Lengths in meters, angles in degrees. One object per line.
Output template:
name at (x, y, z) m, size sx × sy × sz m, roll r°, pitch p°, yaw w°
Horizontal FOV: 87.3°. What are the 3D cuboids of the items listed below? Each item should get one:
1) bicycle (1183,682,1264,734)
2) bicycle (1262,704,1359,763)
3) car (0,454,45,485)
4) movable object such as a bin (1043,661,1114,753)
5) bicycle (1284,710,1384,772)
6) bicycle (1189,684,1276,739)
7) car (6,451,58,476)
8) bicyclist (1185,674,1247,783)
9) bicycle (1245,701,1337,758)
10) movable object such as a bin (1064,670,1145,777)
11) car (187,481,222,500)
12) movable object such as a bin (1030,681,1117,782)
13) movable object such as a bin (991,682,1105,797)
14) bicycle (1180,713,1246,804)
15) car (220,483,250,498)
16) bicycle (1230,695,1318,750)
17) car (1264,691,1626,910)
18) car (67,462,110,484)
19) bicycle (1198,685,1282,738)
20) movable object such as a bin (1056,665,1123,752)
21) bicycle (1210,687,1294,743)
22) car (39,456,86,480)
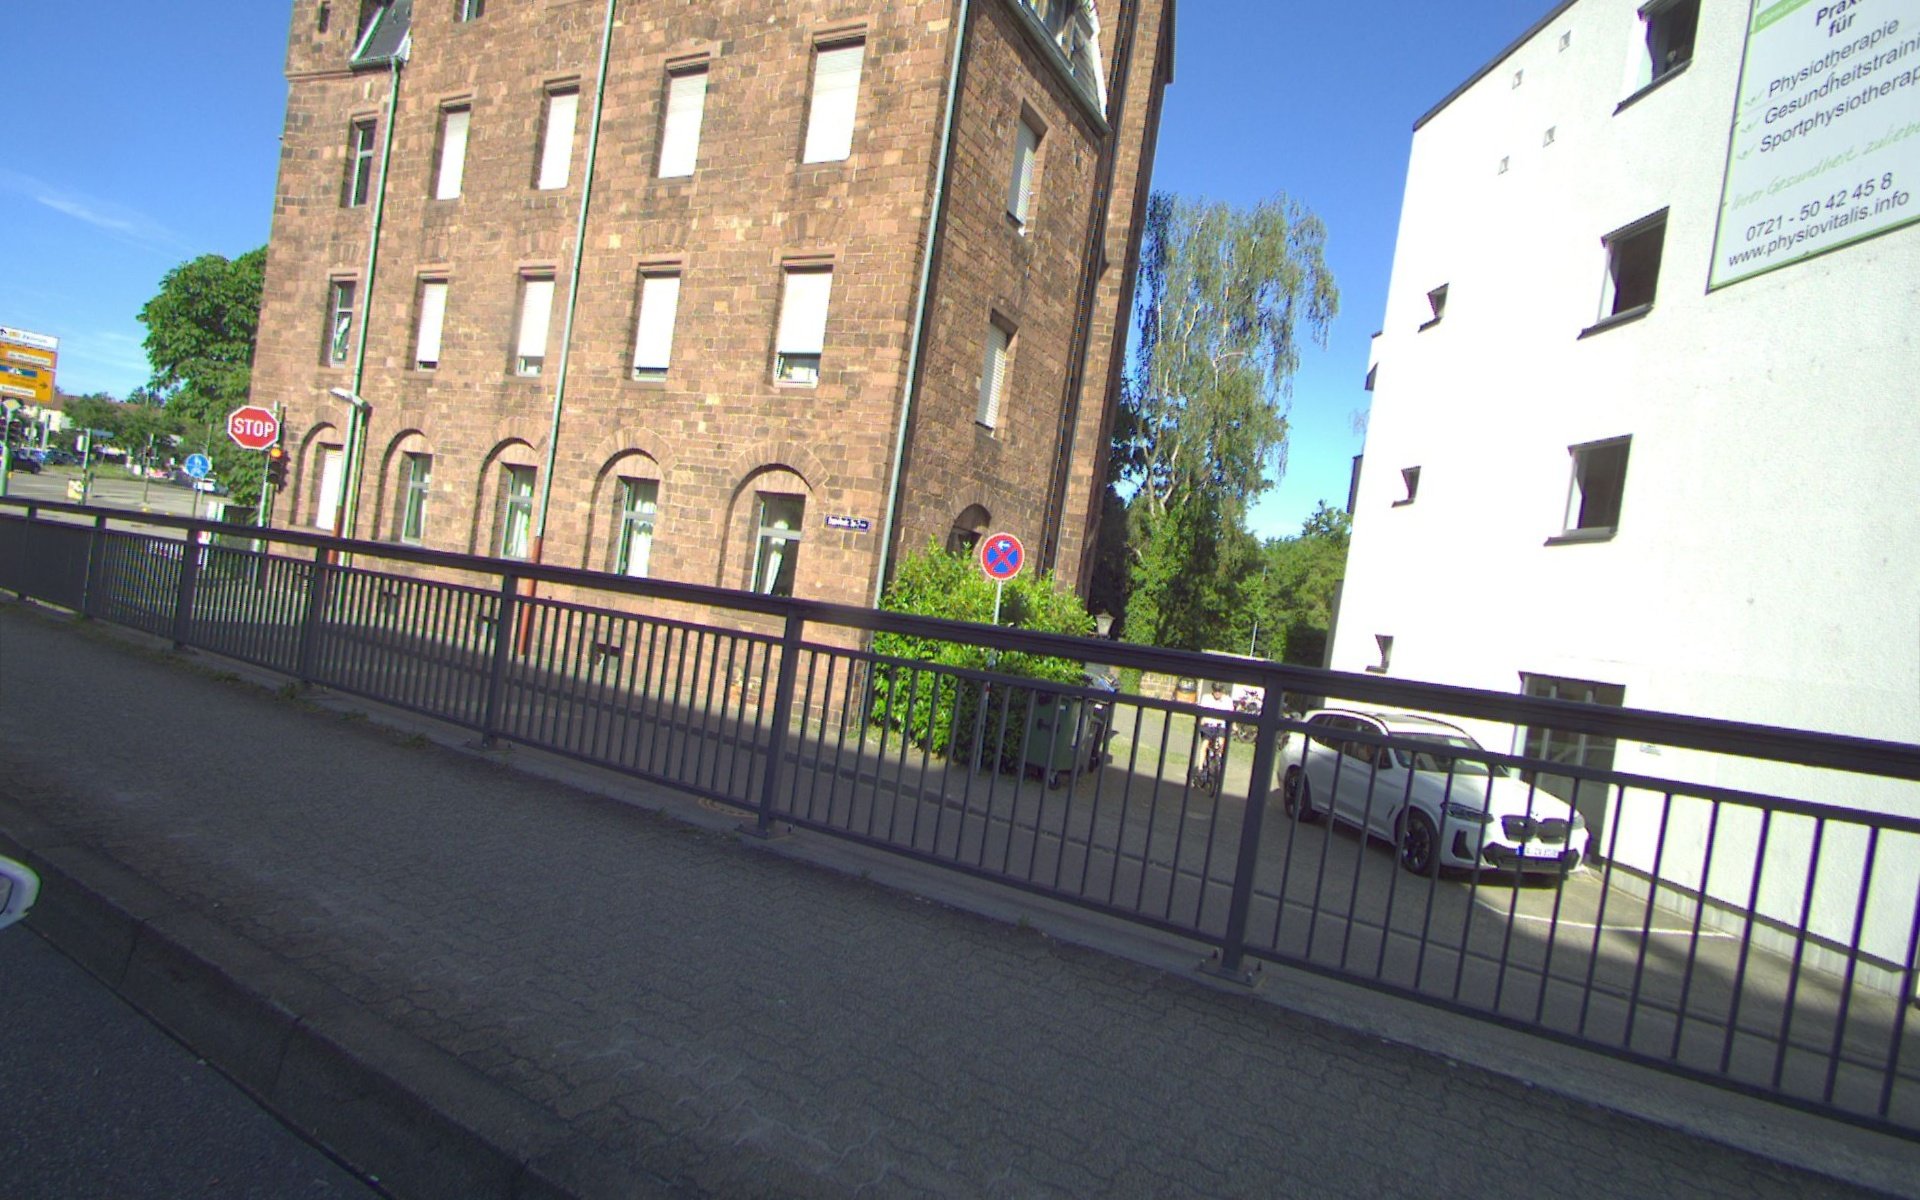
bicycle at (7.664, 3.135, 29.267) m, size 2.075 × 1.174 × 0.664 m, roll 8°, pitch 1°, yaw -9°
bicycle at (8.129, 3.093, 23.367) m, size 1.889 × 1.065 × 0.664 m, roll 8°, pitch 1°, yaw -6°
car at (-67.035, -9.284, 70.962) m, size 1.861 × 1.565 × 3.992 m, roll 8°, pitch -2°, yaw -13°
movable object such as a bin at (2.286, 2.016, 19.270) m, size 1.009 × 1.539 × 1.007 m, roll 9°, pitch 0°, yaw 14°
bicycle at (8.334, 3.137, 22.452) m, size 1.889 × 1.065 × 0.664 m, roll 8°, pitch 1°, yaw -6°
bicycle at (7.406, 3.026, 27.382) m, size 2.075 × 1.174 × 0.664 m, roll 8°, pitch 1°, yaw -9°
car at (-79.900, -11.734, 86.641) m, size 1.860 × 1.598 × 3.978 m, roll 8°, pitch 1°, yaw -22°
bicyclist at (4.146, 2.066, 16.343) m, size 0.675 × 1.627 × 0.697 m, roll 9°, pitch 0°, yaw 8°
bicycle at (7.974, 3.113, 24.255) m, size 1.889 × 1.065 × 0.664 m, roll 8°, pitch 1°, yaw -6°
movable object such as a bin at (2.402, 2.015, 16.664) m, size 1.009 × 1.539 × 1.007 m, roll 9°, pitch 0°, yaw 14°
car at (-69.484, -10.073, 92.596) m, size 1.980 × 1.382 × 4.276 m, roll 8°, pitch 2°, yaw -31°
movable object such as a bin at (1.761, 1.998, 15.483) m, size 1.009 × 1.307 × 1.007 m, roll 10°, pitch 0°, yaw 14°
movable object such as a bin at (1.193, 1.850, 13.520) m, size 1.011 × 1.307 × 1.005 m, roll 10°, pitch 0°, yaw 29°
bicycle at (4.070, 2.527, 16.288) m, size 0.677 × 1.154 × 1.840 m, roll 9°, pitch -1°, yaw 8°
car at (-81.777, -12.387, 113.577) m, size 1.864 × 1.311 × 4.561 m, roll 8°, pitch 2°, yaw -26°
bicycle at (7.869, 3.081, 25.282) m, size 1.889 × 1.065 × 0.664 m, roll 8°, pitch 1°, yaw -6°
car at (5.967, 2.403, 13.162) m, size 1.814 × 1.707 × 4.521 m, roll 8°, pitch 0°, yaw -9°
car at (-86.188, -12.561, 99.516) m, size 1.860 × 1.598 × 3.978 m, roll 8°, pitch 1°, yaw -22°
bicycle at (7.907, 3.133, 28.415) m, size 2.075 × 1.174 × 0.664 m, roll 8°, pitch 1°, yaw -9°
movable object such as a bin at (2.646, 2.182, 20.460) m, size 1.009 × 1.539 × 1.007 m, roll 9°, pitch 0°, yaw 14°
bicycle at (7.668, 3.024, 26.449) m, size 1.889 × 1.174 × 0.664 m, roll 8°, pitch 1°, yaw -6°
car at (-82.319, -12.097, 92.343) m, size 1.860 × 1.598 × 3.978 m, roll 8°, pitch 1°, yaw -22°
